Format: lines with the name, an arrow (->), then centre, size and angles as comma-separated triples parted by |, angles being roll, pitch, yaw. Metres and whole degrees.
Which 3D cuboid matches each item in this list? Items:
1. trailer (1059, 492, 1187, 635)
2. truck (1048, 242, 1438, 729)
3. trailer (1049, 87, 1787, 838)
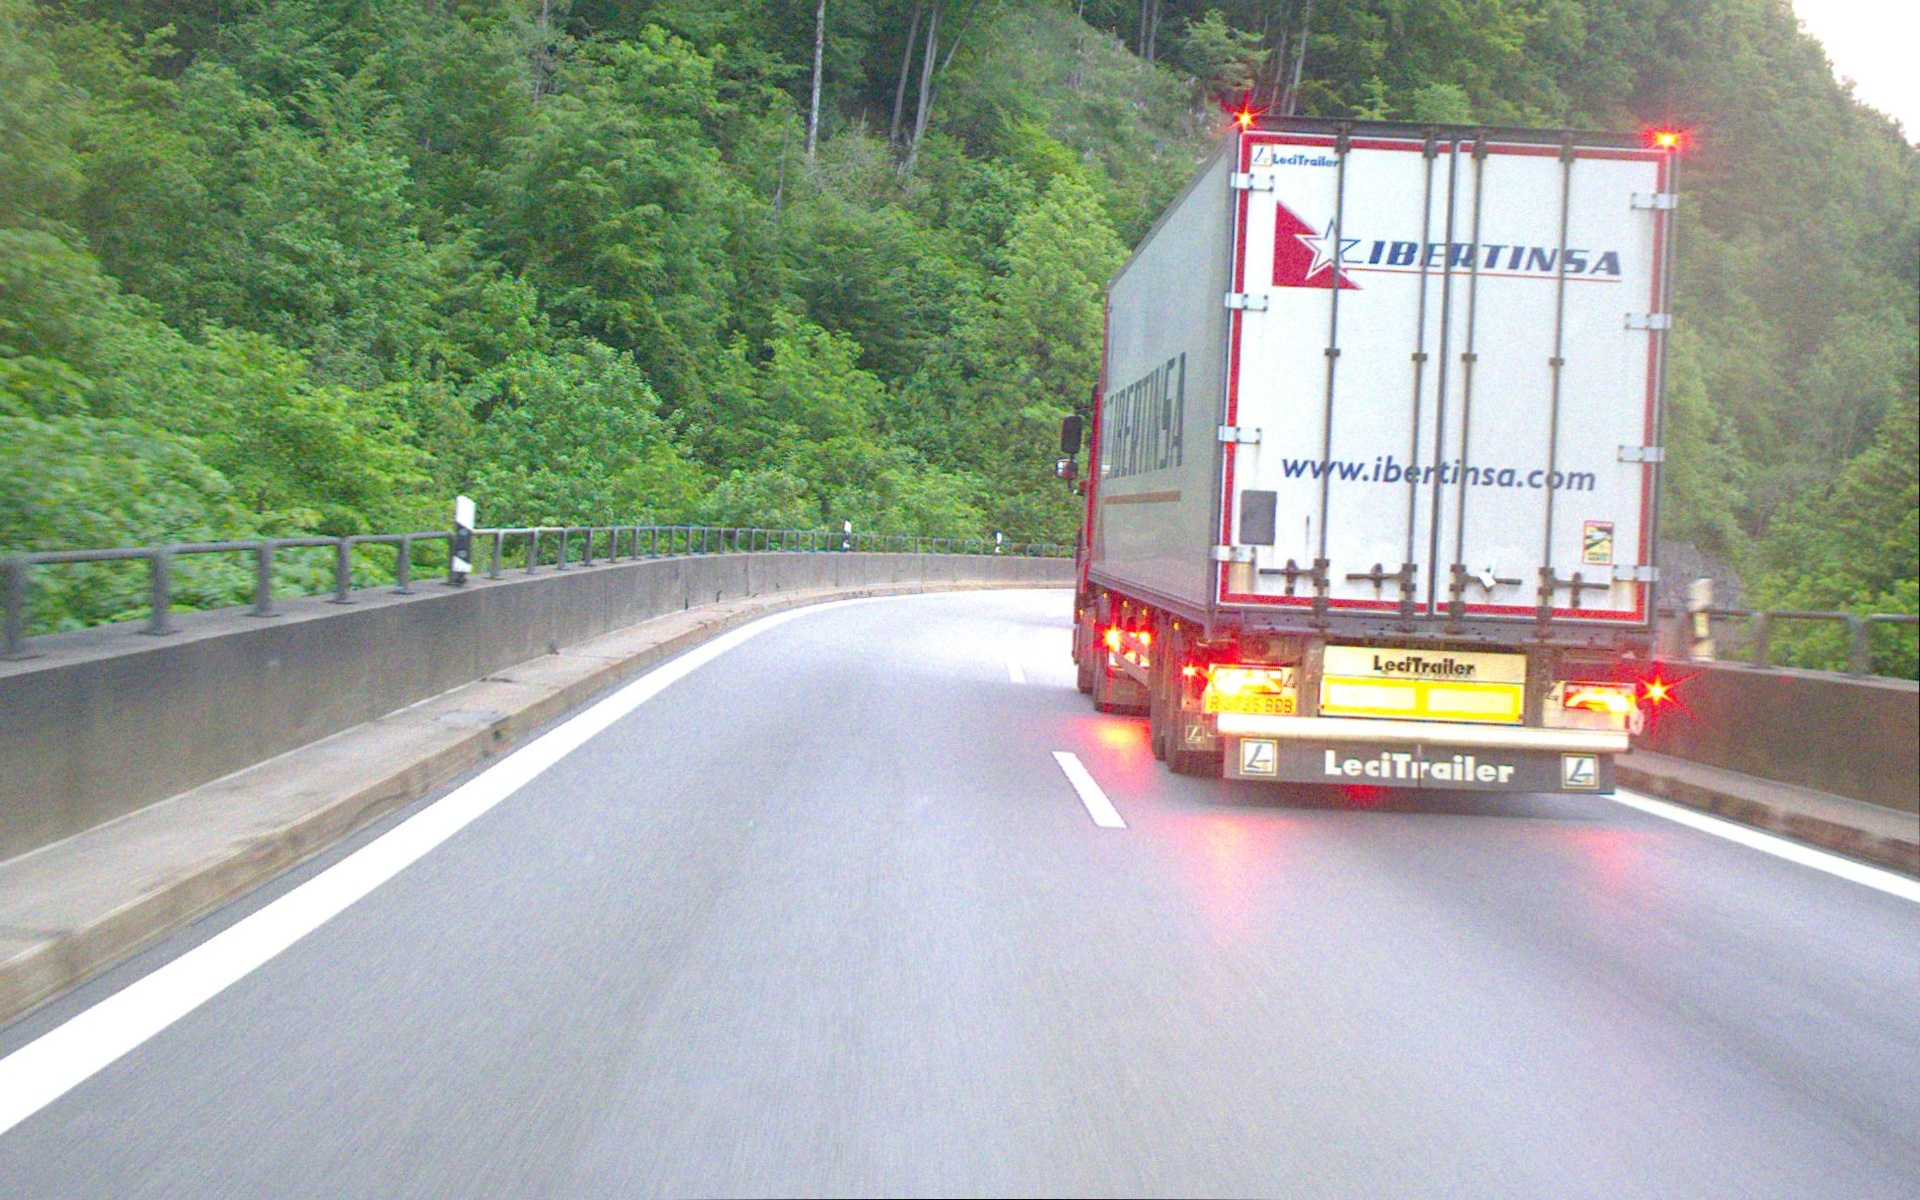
trailer -> 3.151, -0.765, 65.507 | 2.055, 2.366, 5.938 | 7, 2, 3
truck -> 2.548, -1.045, 33.180 | 3.069, 4.130, 6.447 | 2, 1, 0
trailer -> 2.744, -0.887, 26.319 | 3.097, 3.956, 14.219 | 5, 1, -2
